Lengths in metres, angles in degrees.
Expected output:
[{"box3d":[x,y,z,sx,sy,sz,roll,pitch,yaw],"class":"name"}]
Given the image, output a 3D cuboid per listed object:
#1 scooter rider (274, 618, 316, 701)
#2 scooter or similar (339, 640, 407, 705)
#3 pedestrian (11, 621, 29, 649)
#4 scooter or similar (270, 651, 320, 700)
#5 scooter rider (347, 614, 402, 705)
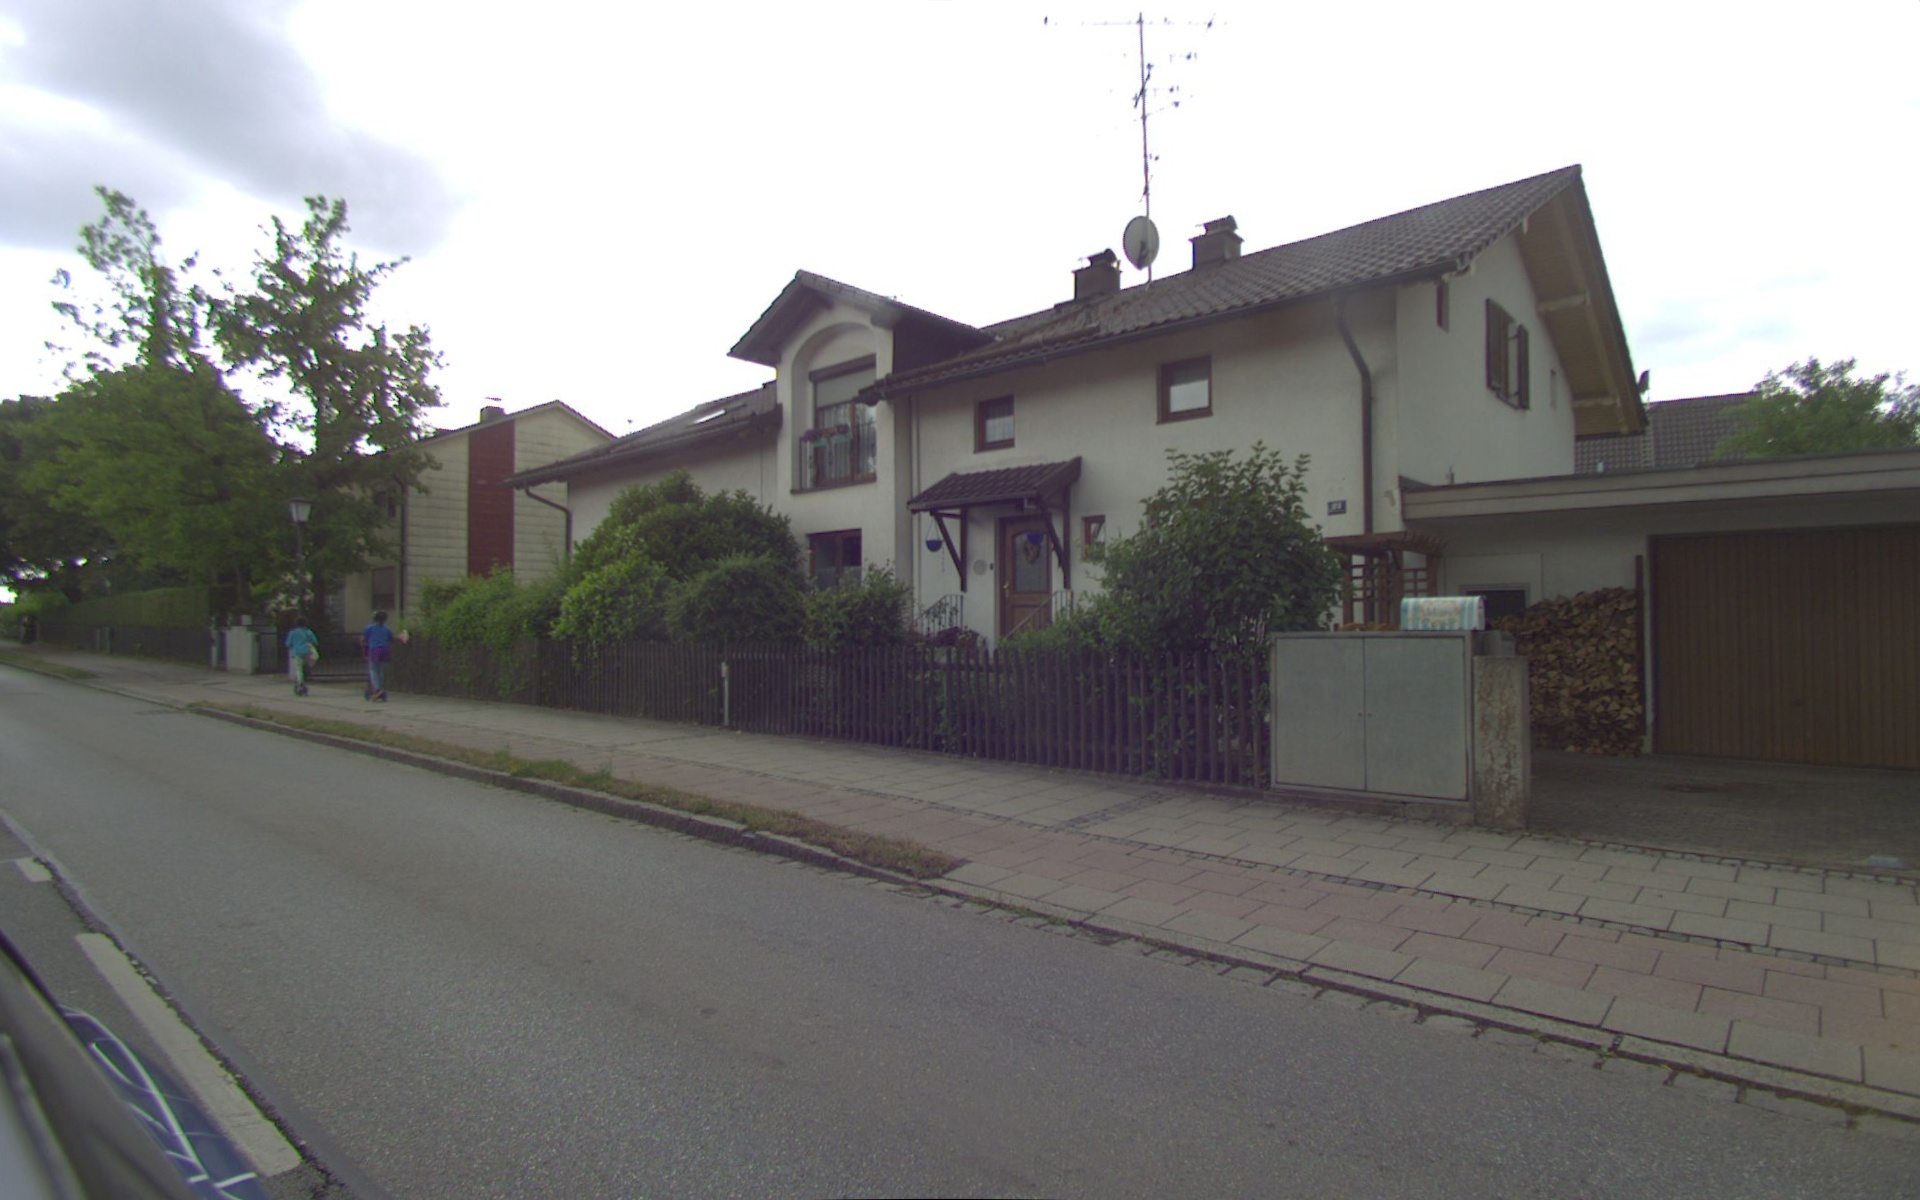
[{"box3d":[-12.426,1.096,18.912,0.716,1.501,0.497,-2,-1,42],"class":"scooter rider"},{"box3d":[-9.892,1.200,17.050,1.178,1.045,0.654,-1,-2,42],"class":"scooter or similar"},{"box3d":[-49.522,1.848,53.314,0.563,1.448,0.623,-2,-1,41],"class":"pedestrian"},{"box3d":[-12.413,1.395,18.887,1.061,0.856,0.516,-1,-1,42],"class":"scooter or similar"},{"box3d":[-9.823,0.984,16.976,0.580,1.484,0.655,-2,-2,41],"class":"scooter rider"}]
